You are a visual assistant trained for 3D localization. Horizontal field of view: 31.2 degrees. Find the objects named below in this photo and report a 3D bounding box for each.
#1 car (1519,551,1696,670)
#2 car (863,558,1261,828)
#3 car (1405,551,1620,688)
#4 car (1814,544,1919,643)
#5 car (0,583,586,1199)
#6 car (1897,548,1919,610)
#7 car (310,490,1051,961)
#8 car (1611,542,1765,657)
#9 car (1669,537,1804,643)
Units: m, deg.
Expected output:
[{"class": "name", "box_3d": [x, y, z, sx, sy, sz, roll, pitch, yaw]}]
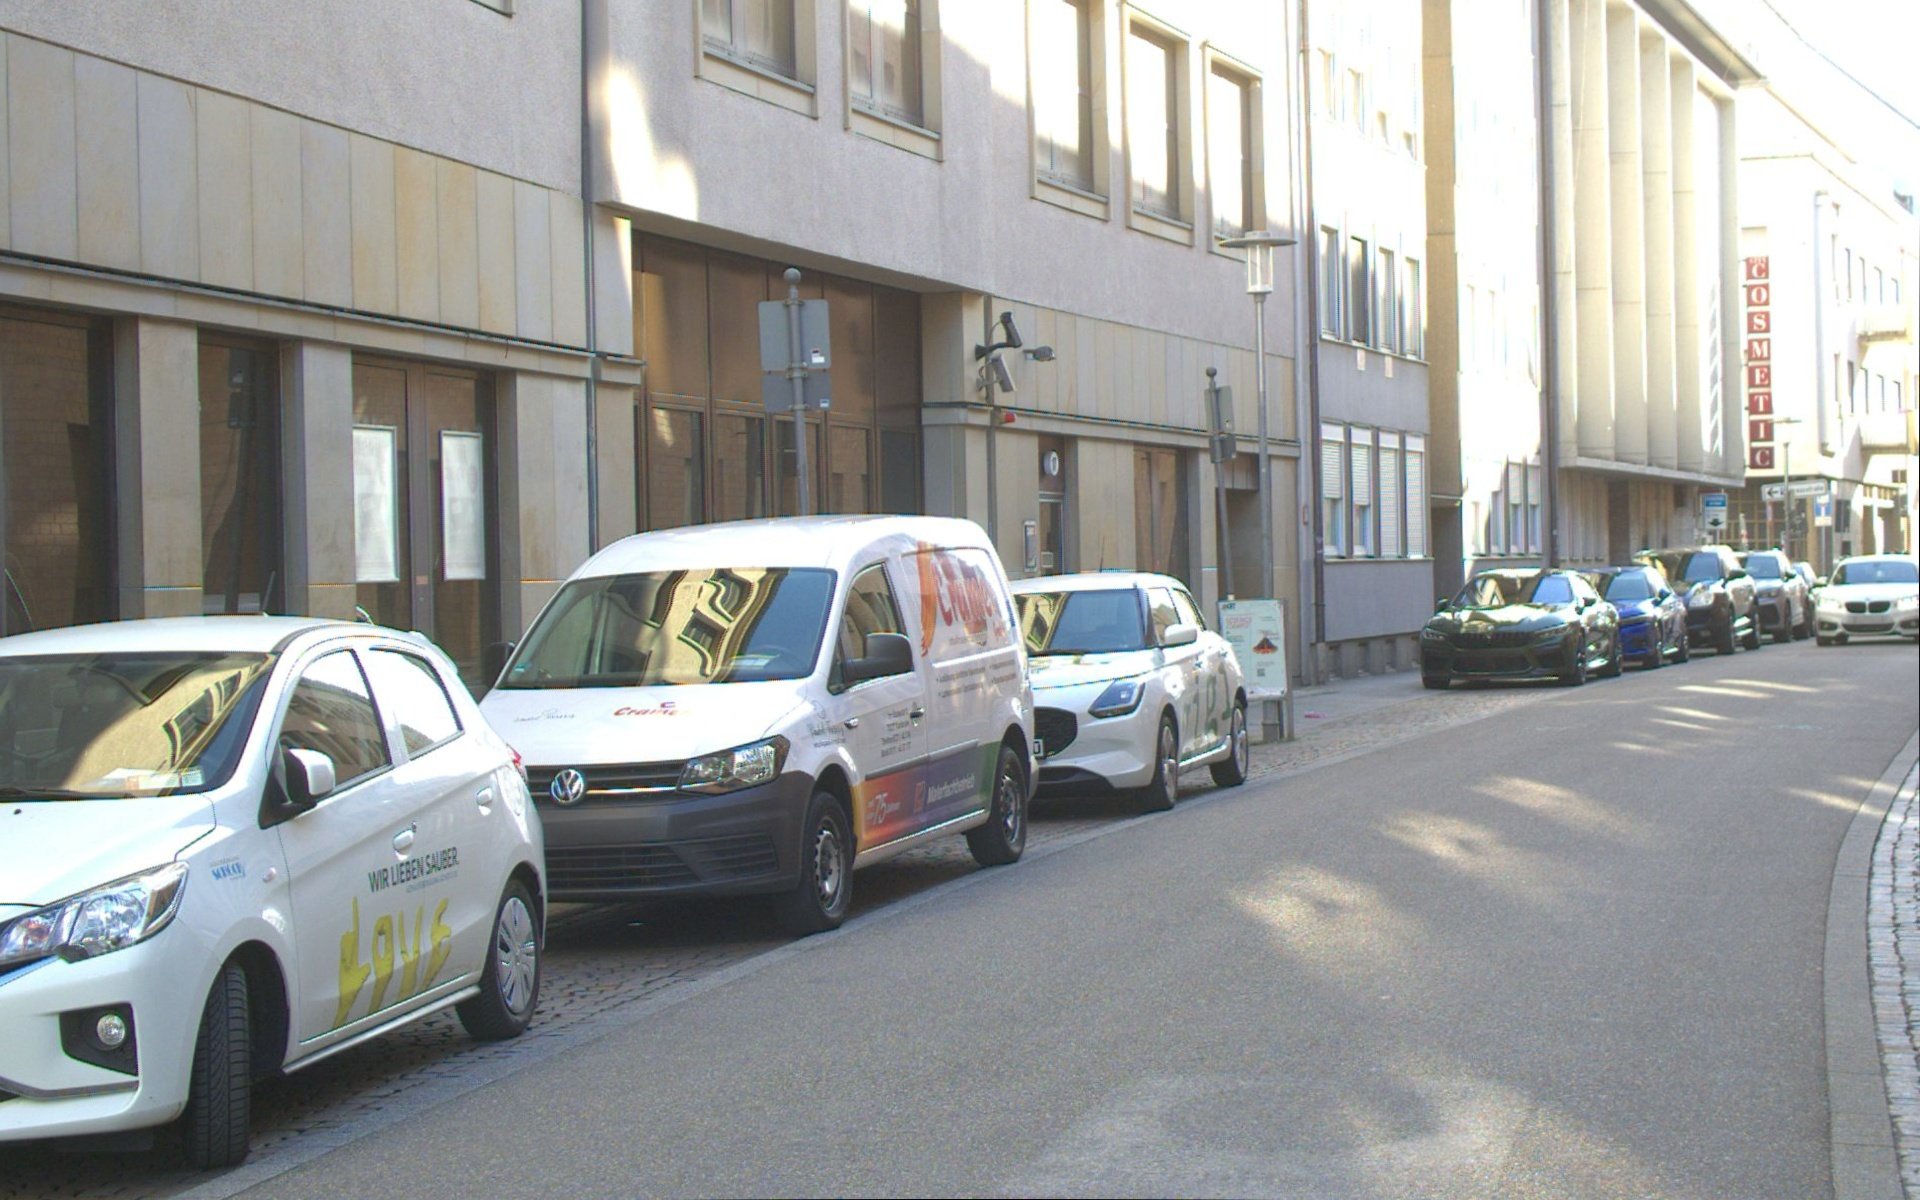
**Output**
[{"class": "car", "box_3d": [9.095, 0.117, 48.076, 1.891, 1.525, 4.336, -1, 1, 18]}, {"class": "car", "box_3d": [0.753, 0.539, 22.330, 1.671, 1.517, 3.773, -3, 0, 15]}, {"class": "car", "box_3d": [6.827, 0.204, 42.075, 1.891, 1.525, 4.725, -1, 1, 18]}, {"class": "car", "box_3d": [14.895, -0.131, 55.789, 1.716, 1.512, 4.157, -1, 1, 18]}, {"class": "car", "box_3d": [-2.565, 0.748, 10.513, 1.738, 1.487, 3.798, -3, 0, 11]}, {"class": "car", "box_3d": [24.617, -0.567, 86.797, 1.641, 1.512, 4.157, -1, 1, 18]}, {"class": "car", "box_3d": [-1.100, 0.484, 16.219, 1.900, 1.851, 4.730, -2, 0, 15]}, {"class": "car", "box_3d": [11.407, -0.041, 53.669, 1.891, 1.670, 4.550, -1, 1, 18]}, {"class": "car", "box_3d": [13.559, -0.200, 59.855, 1.891, 1.736, 4.387, -1, 1, 18]}]
